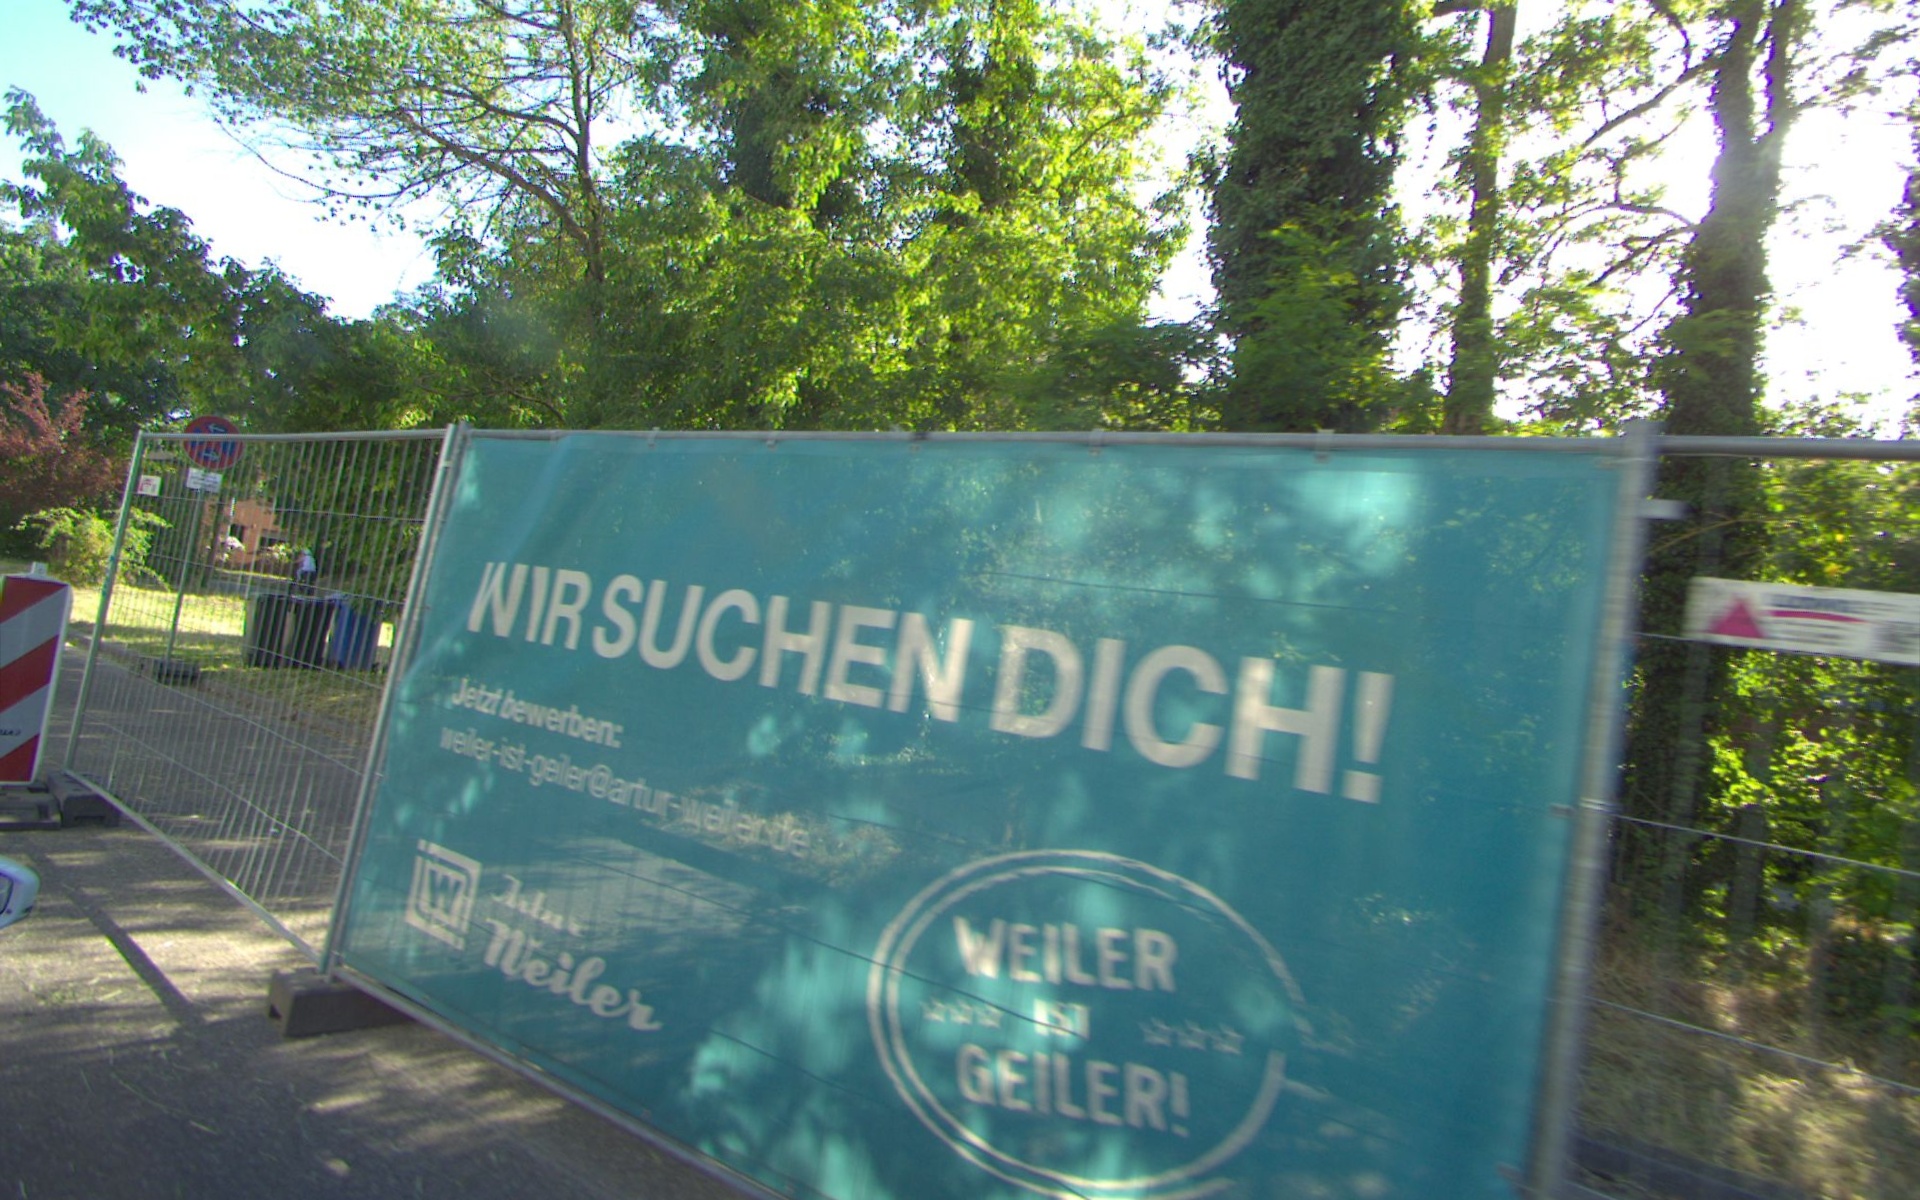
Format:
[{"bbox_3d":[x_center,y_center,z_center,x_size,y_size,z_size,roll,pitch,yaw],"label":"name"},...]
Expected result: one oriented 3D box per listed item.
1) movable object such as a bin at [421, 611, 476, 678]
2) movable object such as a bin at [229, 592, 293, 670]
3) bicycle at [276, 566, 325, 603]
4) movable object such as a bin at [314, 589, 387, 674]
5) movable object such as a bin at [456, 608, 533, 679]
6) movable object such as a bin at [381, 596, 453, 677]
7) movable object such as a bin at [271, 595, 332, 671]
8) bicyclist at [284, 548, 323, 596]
[{"bbox_3d":[-7.299,0.636,14.366,0.516,0.880,0.418,6,-1,35],"label":"movable object such as a bin"},{"bbox_3d":[-8.507,0.375,12.245,0.476,0.880,0.413,6,-1,35],"label":"movable object such as a bin"},{"bbox_3d":[-22.512,-0.534,34.350,1.756,1.051,0.633,6,-3,34],"label":"bicycle"},{"bbox_3d":[-7.913,0.416,13.063,0.599,1.011,0.519,6,-1,35],"label":"movable object such as a bin"},{"bbox_3d":[-6.895,0.653,14.911,0.684,0.939,0.695,6,-2,35],"label":"movable object such as a bin"},{"bbox_3d":[-7.428,0.504,13.757,0.599,1.011,0.563,6,-1,35],"label":"movable object such as a bin"},{"bbox_3d":[-8.311,0.417,12.705,0.476,0.880,0.413,6,-1,35],"label":"movable object such as a bin"},{"bbox_3d":[-22.426,-0.951,34.356,0.826,1.516,0.633,7,-3,33],"label":"bicyclist"}]
